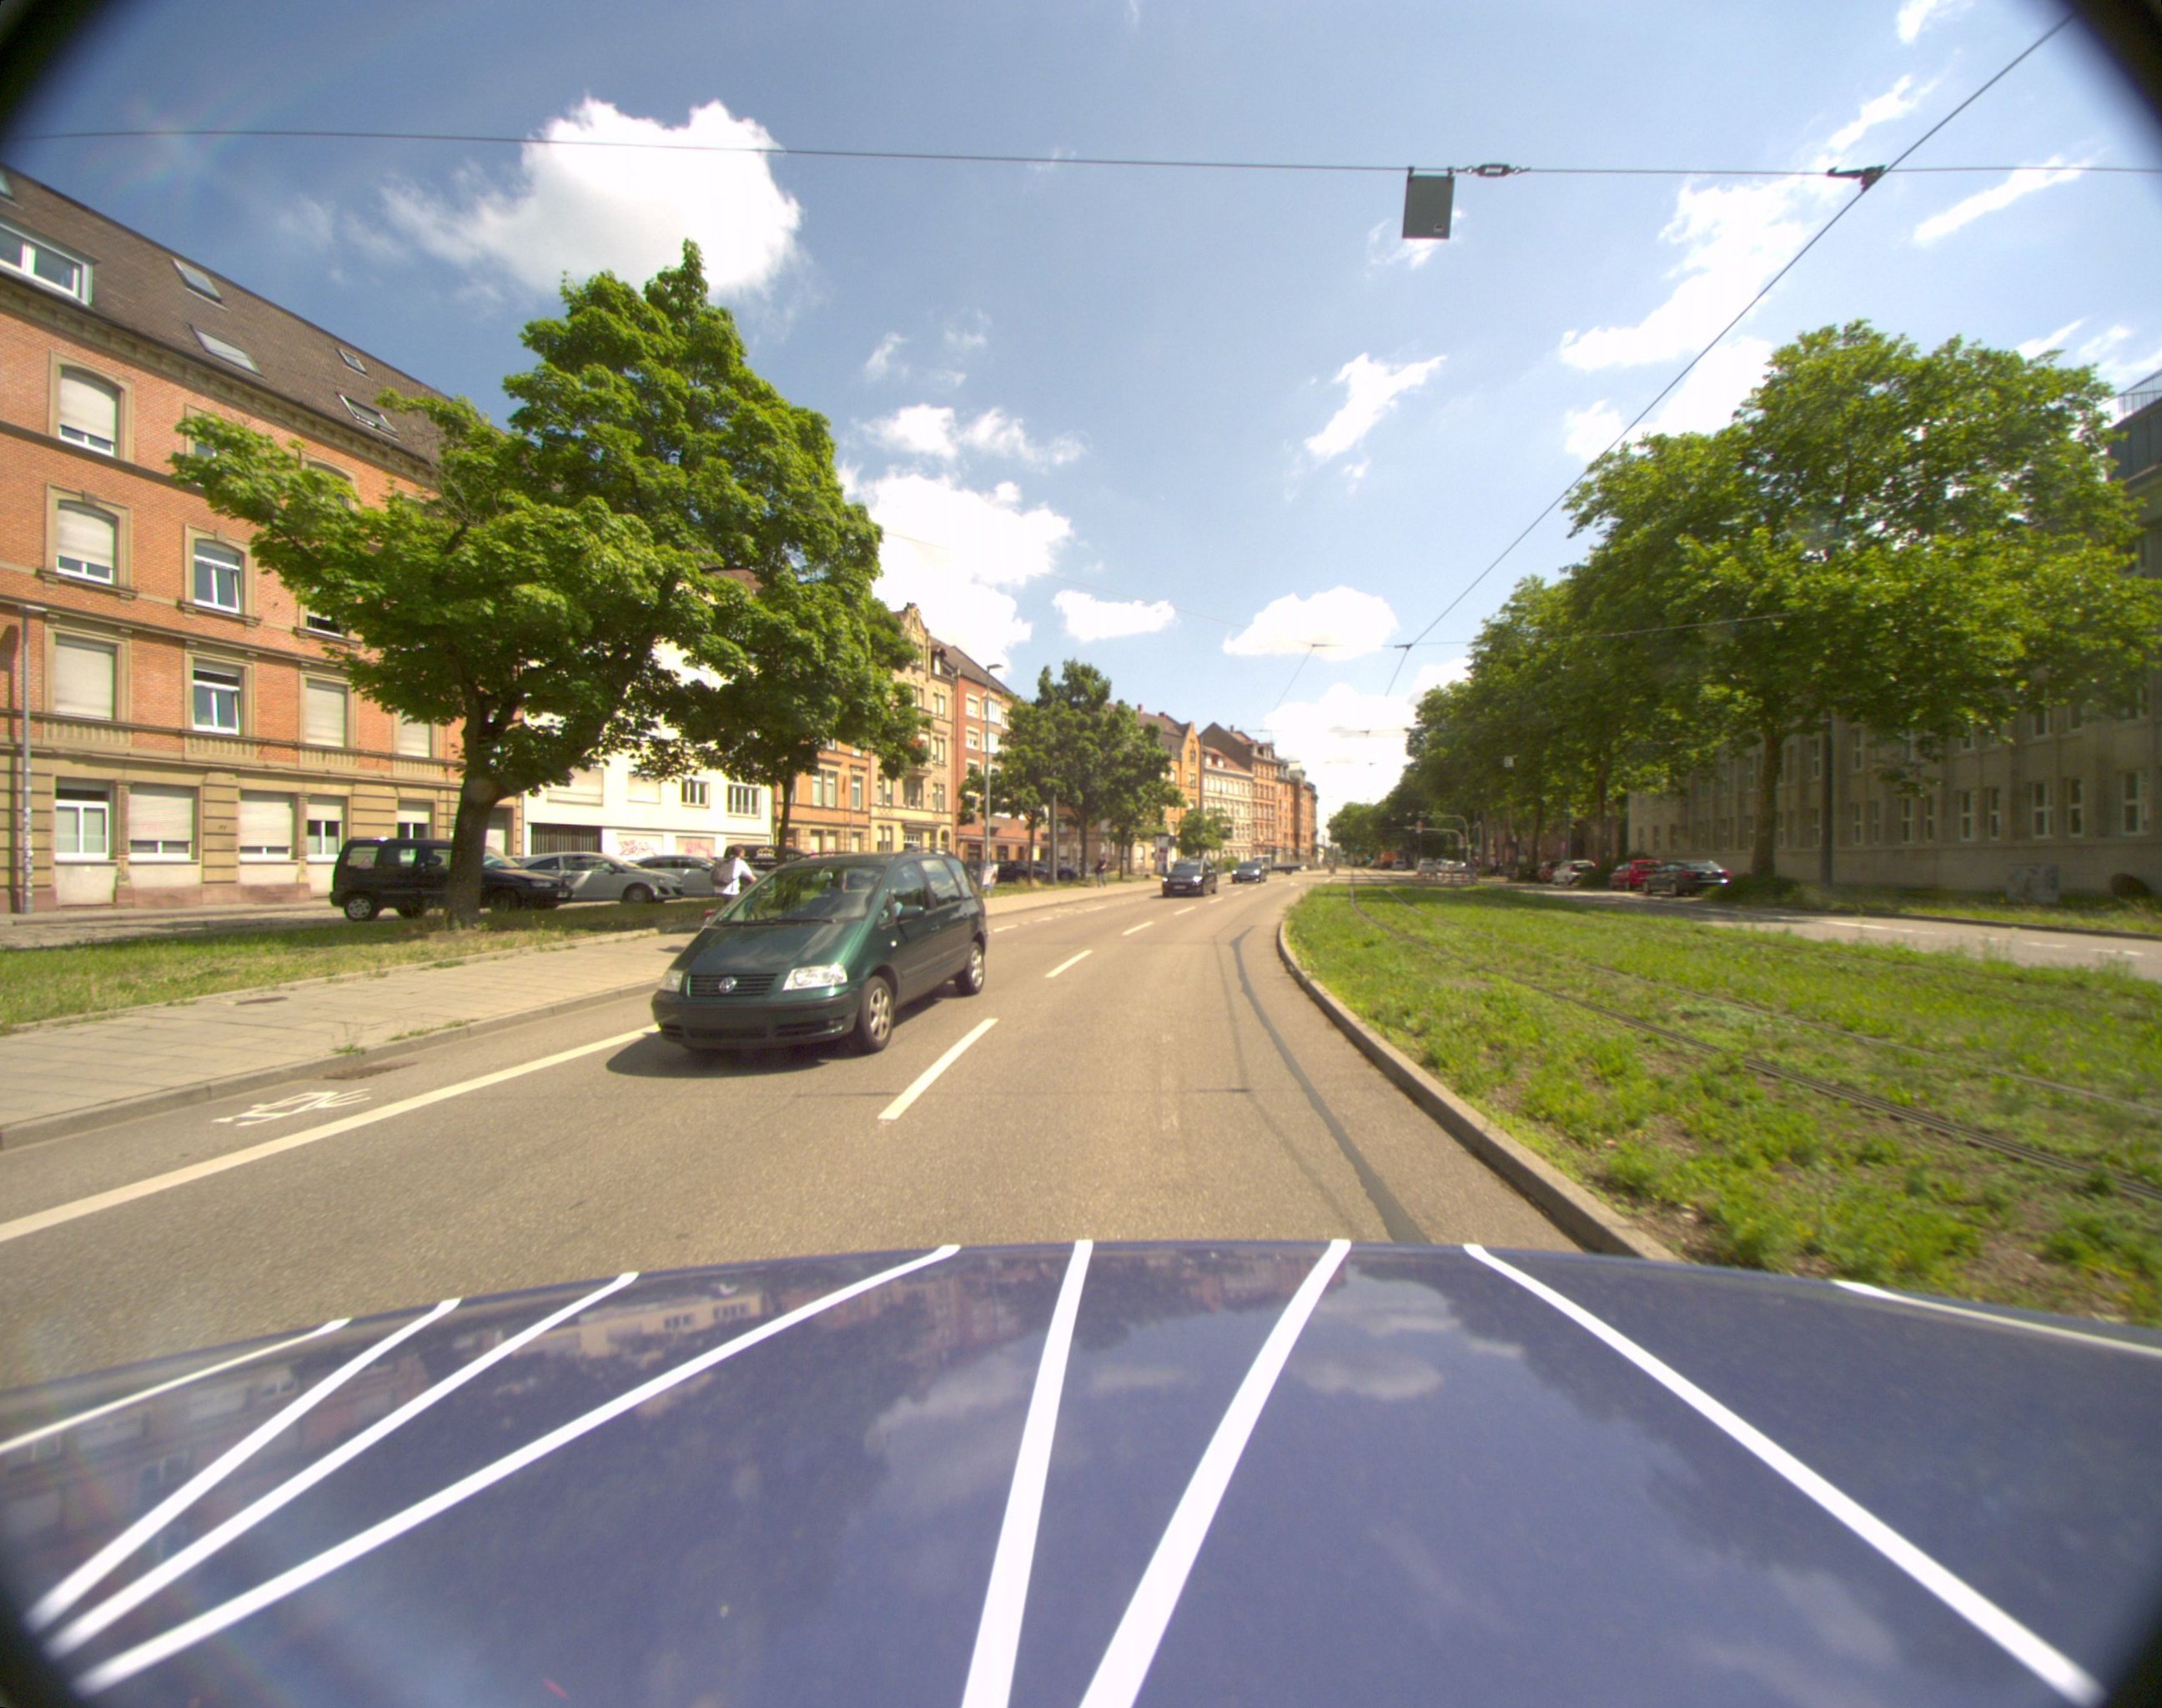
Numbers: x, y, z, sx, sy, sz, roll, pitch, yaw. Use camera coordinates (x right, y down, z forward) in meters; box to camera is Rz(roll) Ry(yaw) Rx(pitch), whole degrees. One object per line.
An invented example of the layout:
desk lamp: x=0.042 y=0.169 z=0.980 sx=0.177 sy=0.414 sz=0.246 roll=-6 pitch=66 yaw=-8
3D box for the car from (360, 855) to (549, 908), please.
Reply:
car: x=-19.564 y=0.816 z=23.981 sx=1.834 sy=1.483 sz=4.233 roll=-1 pitch=0 yaw=20

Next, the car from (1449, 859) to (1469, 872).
car: x=46.959 y=1.428 z=94.469 sx=1.758 sy=1.488 sz=4.006 roll=-1 pitch=0 yaw=20

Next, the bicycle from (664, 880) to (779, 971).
bicycle: x=-5.821 y=1.113 z=12.429 sx=0.695 sy=1.235 sz=1.840 roll=5 pitch=1 yaw=9

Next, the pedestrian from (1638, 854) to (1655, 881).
pedestrian: x=33.400 y=0.771 z=44.884 sx=0.554 sy=1.582 sz=0.796 roll=-1 pitch=0 yaw=19

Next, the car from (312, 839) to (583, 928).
car: x=-13.715 y=0.604 z=16.731 sx=4.151 sy=1.731 sz=1.850 roll=-1 pitch=0 yaw=-11

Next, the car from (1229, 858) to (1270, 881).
car: x=11.160 y=0.969 z=50.008 sx=1.911 sy=1.385 sz=4.320 roll=-1 pitch=0 yaw=22

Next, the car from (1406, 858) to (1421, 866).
car: x=63.700 y=1.566 z=145.650 sx=1.759 sy=1.488 sz=4.004 roll=-1 pitch=0 yaw=13

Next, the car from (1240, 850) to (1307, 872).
car: x=21.292 y=0.747 z=84.046 sx=6.964 sy=2.360 sz=2.266 roll=0 pitch=0 yaw=20

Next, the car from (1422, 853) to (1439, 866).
car: x=58.800 y=0.897 z=127.841 sx=1.990 sy=1.992 sz=4.090 roll=-1 pitch=0 yaw=17

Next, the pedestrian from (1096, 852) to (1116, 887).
pedestrian: x=1.276 y=0.766 z=38.610 sx=0.701 sy=1.695 sz=1.046 roll=2 pitch=2 yaw=18

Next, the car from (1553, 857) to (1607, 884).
car: x=29.353 y=0.956 z=44.768 sx=1.749 sy=1.445 sz=3.496 roll=-2 pitch=-1 yaw=18

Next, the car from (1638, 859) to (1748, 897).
car: x=24.197 y=0.926 z=30.252 sx=1.928 sy=1.360 sz=4.324 roll=-2 pitch=-1 yaw=18

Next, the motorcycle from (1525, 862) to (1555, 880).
motorcycle: x=32.659 y=1.204 z=54.044 sx=2.109 sy=1.168 sz=0.544 roll=-3 pitch=-3 yaw=-19

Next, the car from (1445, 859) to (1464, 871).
car: x=48.494 y=1.418 z=98.804 sx=1.758 sy=1.488 sz=4.006 roll=-1 pitch=0 yaw=20

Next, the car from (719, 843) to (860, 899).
car: x=-9.898 y=0.547 z=26.142 sx=4.369 sy=1.731 sz=1.850 roll=-1 pitch=0 yaw=-17

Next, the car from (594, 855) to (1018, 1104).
car: x=-2.262 y=0.911 z=8.025 sx=1.821 sy=1.746 sz=5.036 roll=-1 pitch=0 yaw=11

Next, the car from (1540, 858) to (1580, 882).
car: x=30.861 y=1.013 z=49.034 sx=1.488 sy=1.445 sz=2.887 roll=-2 pitch=-1 yaw=18

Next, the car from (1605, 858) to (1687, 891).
car: x=26.167 y=0.929 z=35.380 sx=1.928 sy=1.411 sz=4.056 roll=-2 pitch=-1 yaw=20

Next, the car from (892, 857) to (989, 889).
car: x=-6.666 y=0.880 z=35.950 sx=4.272 sy=1.372 sz=1.850 roll=-1 pitch=0 yaw=-17

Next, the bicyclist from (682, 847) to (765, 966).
bicyclist: x=-5.804 y=0.821 z=12.395 sx=0.695 sy=1.814 sz=0.957 roll=5 pitch=2 yaw=9

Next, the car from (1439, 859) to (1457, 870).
car: x=49.830 y=1.413 z=103.199 sx=1.758 sy=1.488 sz=4.006 roll=-1 pitch=0 yaw=20

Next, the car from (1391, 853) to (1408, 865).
car: x=48.262 y=0.739 z=115.111 sx=1.922 sy=1.736 sz=4.543 roll=3 pitch=1 yaw=18

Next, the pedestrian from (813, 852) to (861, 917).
pedestrian: x=-6.164 y=0.759 z=19.240 sx=0.701 sy=1.583 sz=0.906 roll=3 pitch=1 yaw=18

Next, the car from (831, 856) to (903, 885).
car: x=-12.689 y=0.936 z=45.415 sx=1.834 sy=1.606 sz=4.502 roll=-1 pitch=0 yaw=20

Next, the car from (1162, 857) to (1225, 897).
car: x=4.996 y=0.952 z=33.356 sx=1.872 sy=1.610 sz=4.195 roll=-1 pitch=0 yaw=20

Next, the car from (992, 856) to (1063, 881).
car: x=-3.246 y=0.861 z=45.655 sx=4.001 sy=1.372 sz=1.959 roll=-1 pitch=0 yaw=-13

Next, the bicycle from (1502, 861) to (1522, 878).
bicycle: x=29.957 y=1.071 z=52.788 sx=0.791 sy=1.103 sz=2.280 roll=-1 pitch=0 yaw=19

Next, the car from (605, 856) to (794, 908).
car: x=-11.145 y=0.786 z=22.557 sx=4.696 sy=1.372 sz=1.850 roll=-1 pitch=0 yaw=-15

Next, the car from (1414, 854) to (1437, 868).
car: x=37.051 y=0.780 z=81.735 sx=1.762 sy=1.471 sz=3.794 roll=2 pitch=0 yaw=18

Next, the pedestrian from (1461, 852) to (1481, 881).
pedestrian: x=23.140 y=0.717 z=45.120 sx=0.784 sy=1.694 sz=0.701 roll=-1 pitch=0 yaw=-21

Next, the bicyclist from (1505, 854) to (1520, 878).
bicyclist: x=29.922 y=0.833 z=52.728 sx=0.762 sy=1.694 sz=0.784 roll=-1 pitch=0 yaw=18

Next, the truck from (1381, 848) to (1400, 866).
truck: x=54.459 y=0.481 z=133.882 sx=2.641 sy=3.088 sz=7.233 roll=2 pitch=1 yaw=19

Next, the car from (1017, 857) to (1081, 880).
car: x=-2.083 y=0.900 z=48.900 sx=3.998 sy=1.346 sz=1.961 roll=-1 pitch=0 yaw=-3

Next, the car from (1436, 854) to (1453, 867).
car: x=52.118 y=0.942 z=109.103 sx=1.758 sy=1.825 sz=4.006 roll=-1 pitch=0 yaw=20

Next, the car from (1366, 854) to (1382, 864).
car: x=70.100 y=1.228 z=181.940 sx=1.762 sy=2.171 sz=3.997 roll=-1 pitch=0 yaw=-10

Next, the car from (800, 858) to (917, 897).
car: x=-8.700 y=0.889 z=29.884 sx=4.272 sy=1.372 sz=1.850 roll=-1 pitch=0 yaw=-17

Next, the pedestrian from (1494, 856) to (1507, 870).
pedestrian: x=36.952 y=0.812 z=66.970 sx=0.756 sy=1.204 sz=0.914 roll=-5 pitch=-1 yaw=21

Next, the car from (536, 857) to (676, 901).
car: x=-17.854 y=0.905 z=28.805 sx=1.834 sy=1.483 sz=4.233 roll=-1 pitch=0 yaw=20

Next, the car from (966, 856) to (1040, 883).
car: x=-4.428 y=0.873 z=42.911 sx=4.000 sy=1.372 sz=1.960 roll=-1 pitch=0 yaw=-9

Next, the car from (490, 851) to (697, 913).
car: x=-12.340 y=0.680 z=19.558 sx=4.087 sy=1.397 sz=1.850 roll=-1 pitch=0 yaw=-16
